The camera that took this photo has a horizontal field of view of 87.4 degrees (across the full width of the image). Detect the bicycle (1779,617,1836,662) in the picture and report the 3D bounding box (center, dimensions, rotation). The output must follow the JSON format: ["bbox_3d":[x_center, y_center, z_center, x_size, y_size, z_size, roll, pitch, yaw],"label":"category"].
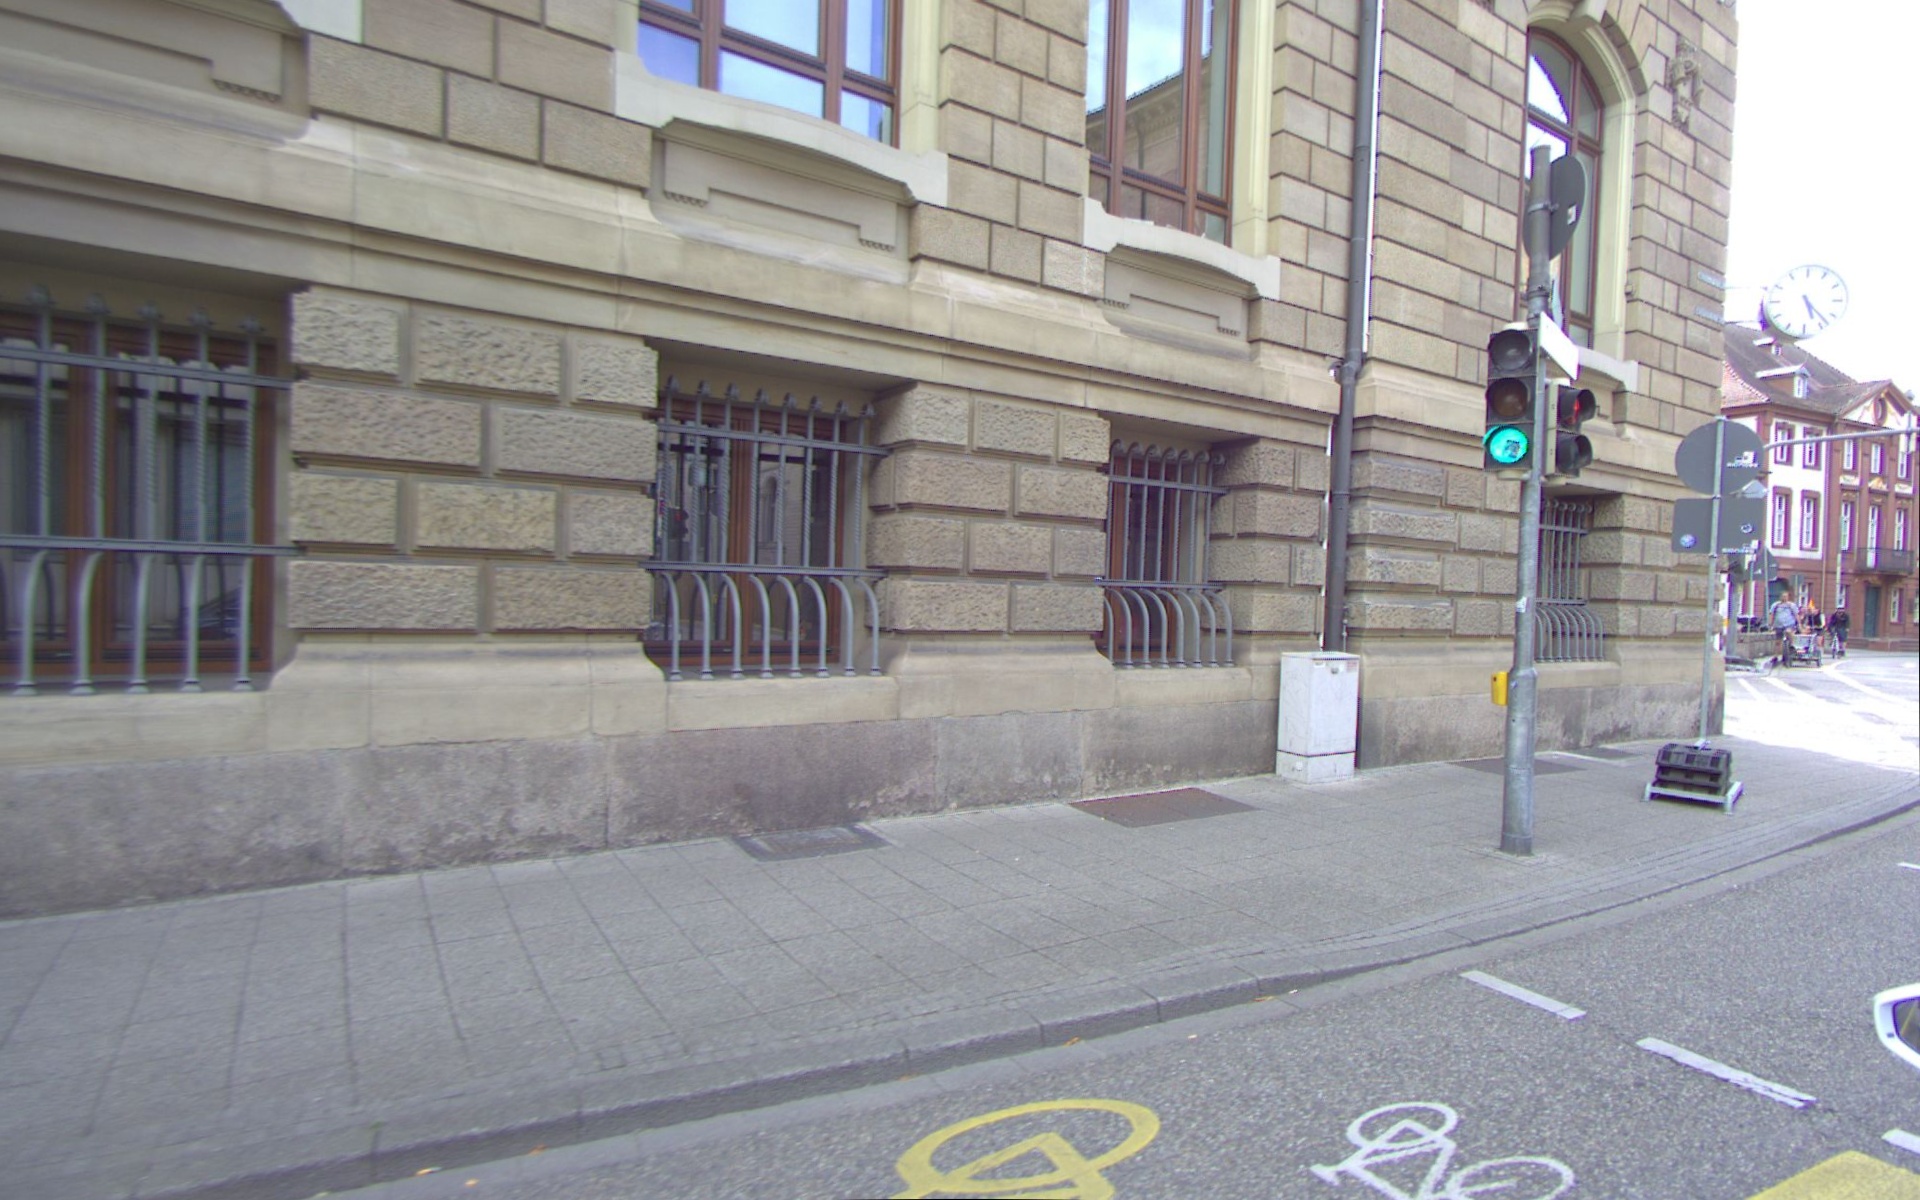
[{"bbox_3d":[25.401,1.171,30.085,2.521,1.272,0.918,2,0,-41],"label":"bicycle"}]

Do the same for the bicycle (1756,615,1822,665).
[{"bbox_3d":[22.735,1.083,27.518,3.020,1.272,1.045,2,0,-44],"label":"bicycle"}]

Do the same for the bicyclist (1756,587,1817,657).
[{"bbox_3d":[22.471,0.591,27.293,1.356,1.848,1.080,2,0,-43],"label":"bicyclist"}]

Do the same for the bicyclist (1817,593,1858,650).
[{"bbox_3d":[31.389,0.750,35.918,1.097,1.989,0.918,2,0,-41],"label":"bicyclist"}]

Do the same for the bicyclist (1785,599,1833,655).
[{"bbox_3d":[25.421,0.803,30.073,1.055,1.630,0.918,2,0,-41],"label":"bicyclist"}]

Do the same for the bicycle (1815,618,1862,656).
[{"bbox_3d":[31.612,1.331,36.142,2.521,1.272,0.918,2,0,-41],"label":"bicycle"}]
